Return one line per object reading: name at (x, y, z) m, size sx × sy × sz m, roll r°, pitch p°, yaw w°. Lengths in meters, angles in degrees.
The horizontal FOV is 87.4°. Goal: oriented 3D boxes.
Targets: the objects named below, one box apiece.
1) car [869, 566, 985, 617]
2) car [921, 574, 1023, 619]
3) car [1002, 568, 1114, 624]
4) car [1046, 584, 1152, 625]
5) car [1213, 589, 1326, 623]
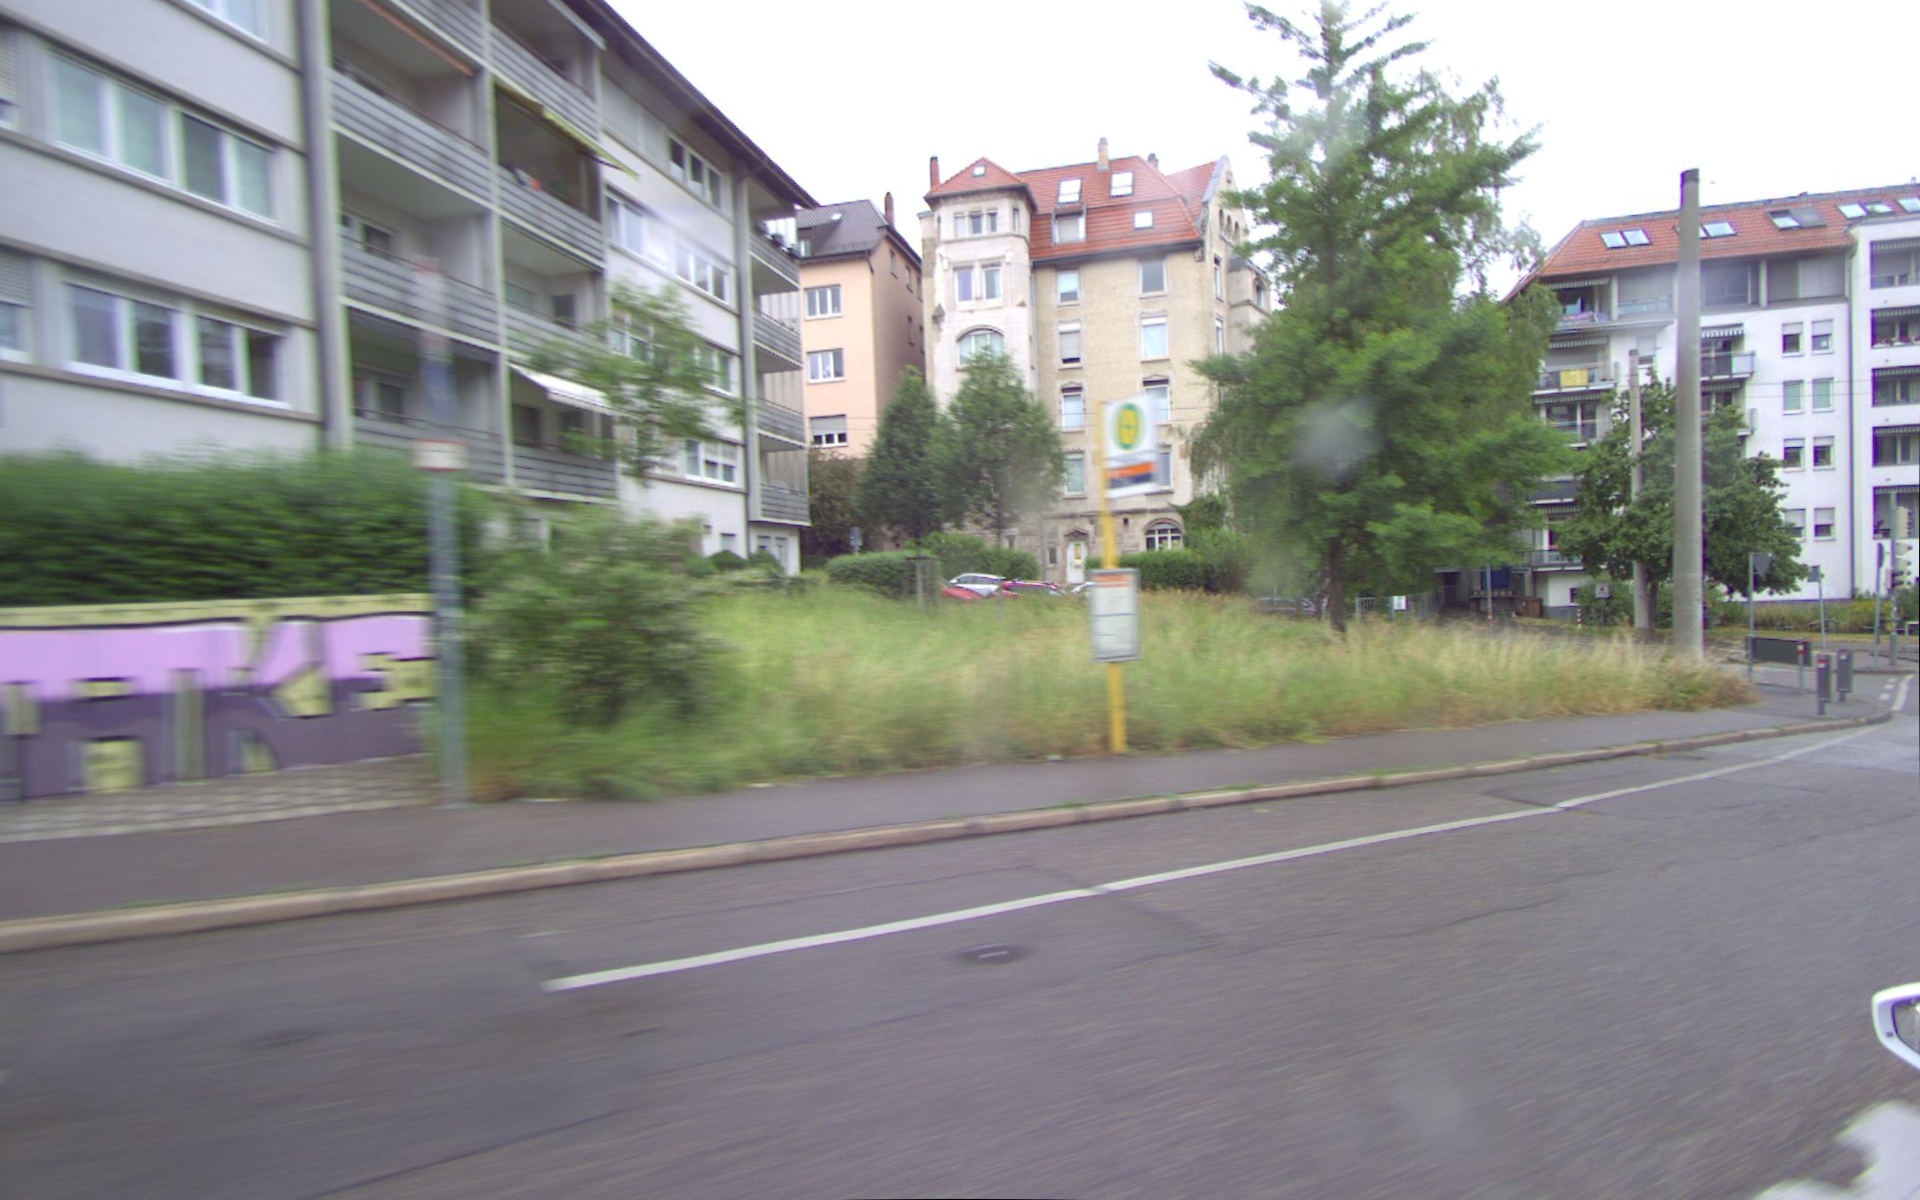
car at (-1.268, -0.341, 39.132) m, size 4.197 × 1.859 × 1.807 m, roll 1°, pitch 1°, yaw 11°
car at (0.556, -0.152, 44.101) m, size 4.197 × 1.859 × 1.807 m, roll 1°, pitch -1°, yaw 11°
car at (3.740, -0.156, 38.206) m, size 3.920 × 2.040 × 2.001 m, roll 1°, pitch 0°, yaw 16°
car at (5.976, 0.166, 42.959) m, size 4.268 × 1.615 × 2.001 m, roll 1°, pitch 1°, yaw 13°
car at (12.578, 0.241, 40.968) m, size 4.269 × 1.240 × 1.754 m, roll 1°, pitch 1°, yaw 17°
